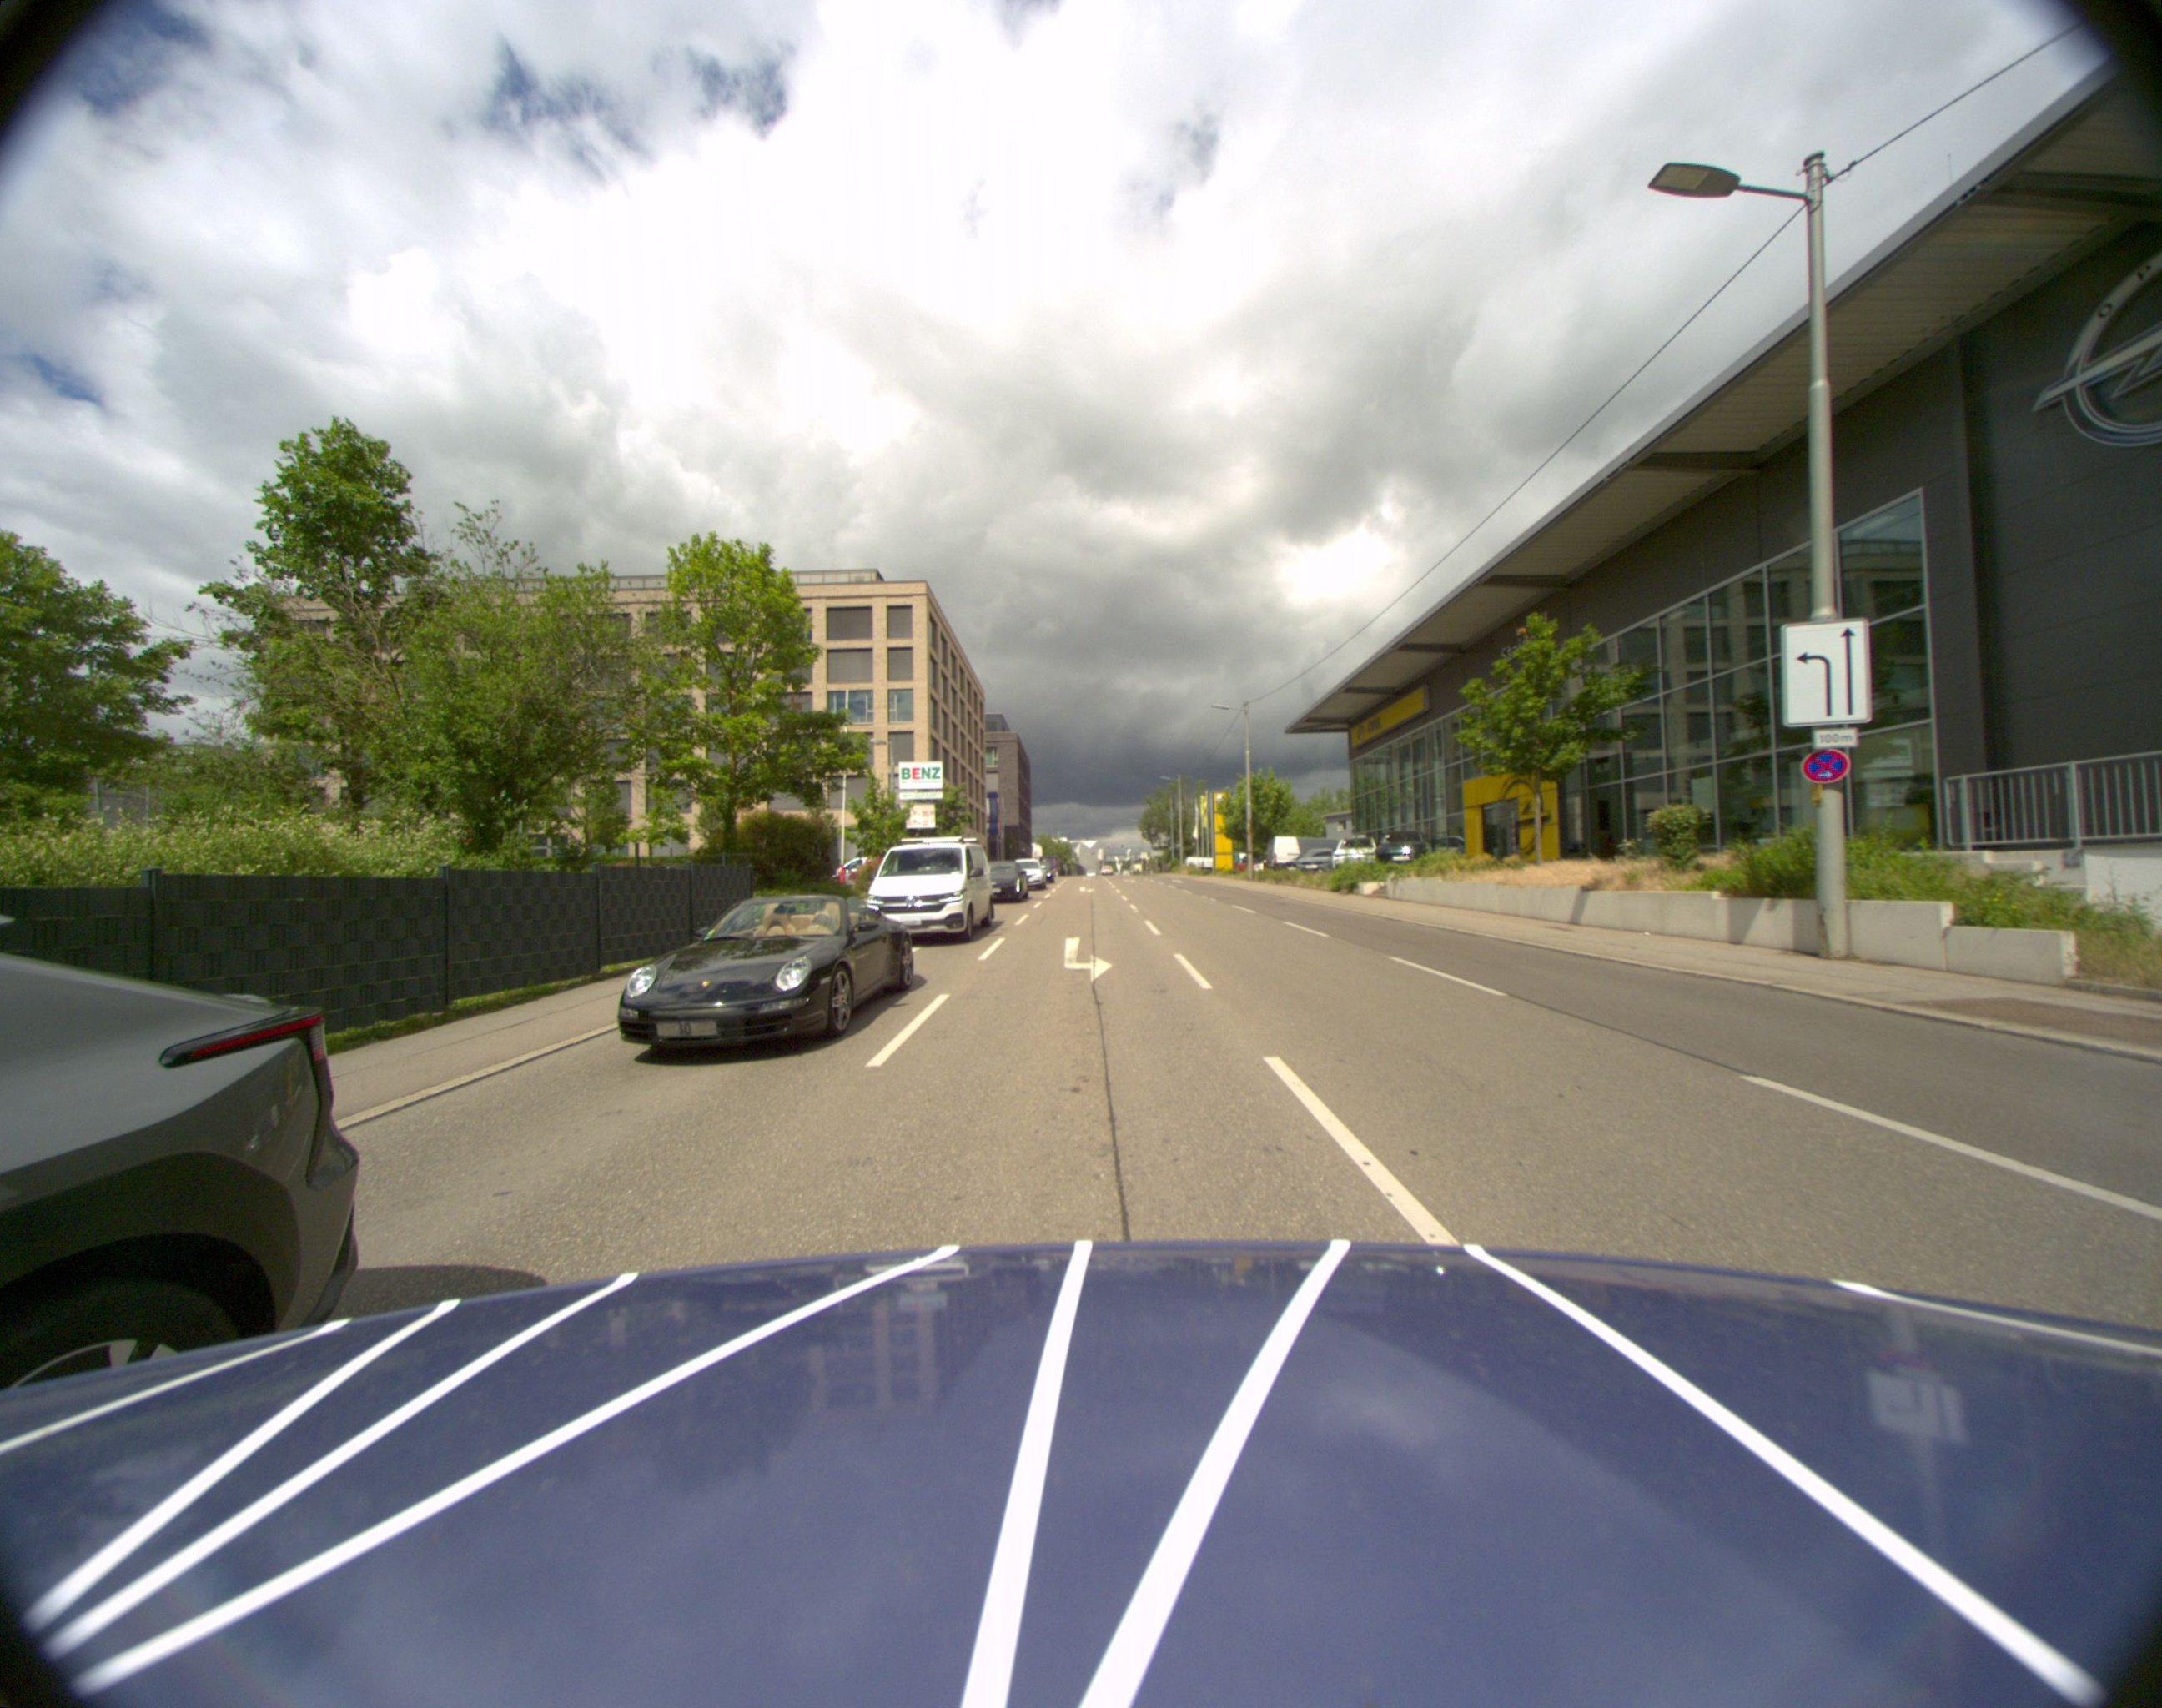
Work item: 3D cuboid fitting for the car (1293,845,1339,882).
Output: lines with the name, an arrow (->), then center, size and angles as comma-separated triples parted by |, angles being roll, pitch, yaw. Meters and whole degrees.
car -> 12.104, 0.465, 39.014 | 1.995, 1.783, 4.006 | -1, 0, 21

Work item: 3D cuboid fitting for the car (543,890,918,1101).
car -> -3.041, 1.152, 7.671 | 1.824, 1.286, 4.038 | -2, 0, 1

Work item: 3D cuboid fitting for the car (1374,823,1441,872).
car -> 12.333, -0.255, 28.930 | 1.996, 1.718, 4.005 | -1, 0, 18

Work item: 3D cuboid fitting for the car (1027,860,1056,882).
car -> -2.547, 1.083, 49.827 | 1.662, 1.351, 4.000 | -1, 0, 1

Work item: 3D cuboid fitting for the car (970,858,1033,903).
car -> -2.832, 0.910, 27.887 | 1.818, 1.454, 4.000 | -1, 0, 1

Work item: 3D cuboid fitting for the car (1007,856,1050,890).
car -> -2.596, 0.892, 38.427 | 1.818, 1.577, 4.000 | -1, 0, 1

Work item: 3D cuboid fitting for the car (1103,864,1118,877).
car -> 4.511, 2.539, 116.826 | 1.998, 1.731, 4.547 | -2, 0, 1

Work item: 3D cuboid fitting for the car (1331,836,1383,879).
car -> 12.165, 0.126, 33.440 | 1.995, 1.783, 4.006 | -1, 0, 21

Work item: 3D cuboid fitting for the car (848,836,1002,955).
car -> -3.019, 0.731, 15.888 | 2.089, 2.037, 4.760 | -2, 0, 1

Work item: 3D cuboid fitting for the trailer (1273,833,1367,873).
trailer -> 14.447, -0.073, 46.174 | 5.074, 2.336, 2.000 | -1, 1, -1

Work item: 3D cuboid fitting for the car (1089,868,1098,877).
car -> 2.749, 3.964, 165.456 | 1.998, 1.819, 4.547 | -2, 0, 2

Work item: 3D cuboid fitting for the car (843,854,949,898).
car -> -7.632, 0.889, 31.713 | 3.998, 1.723, 1.822 | -1, 1, -3
